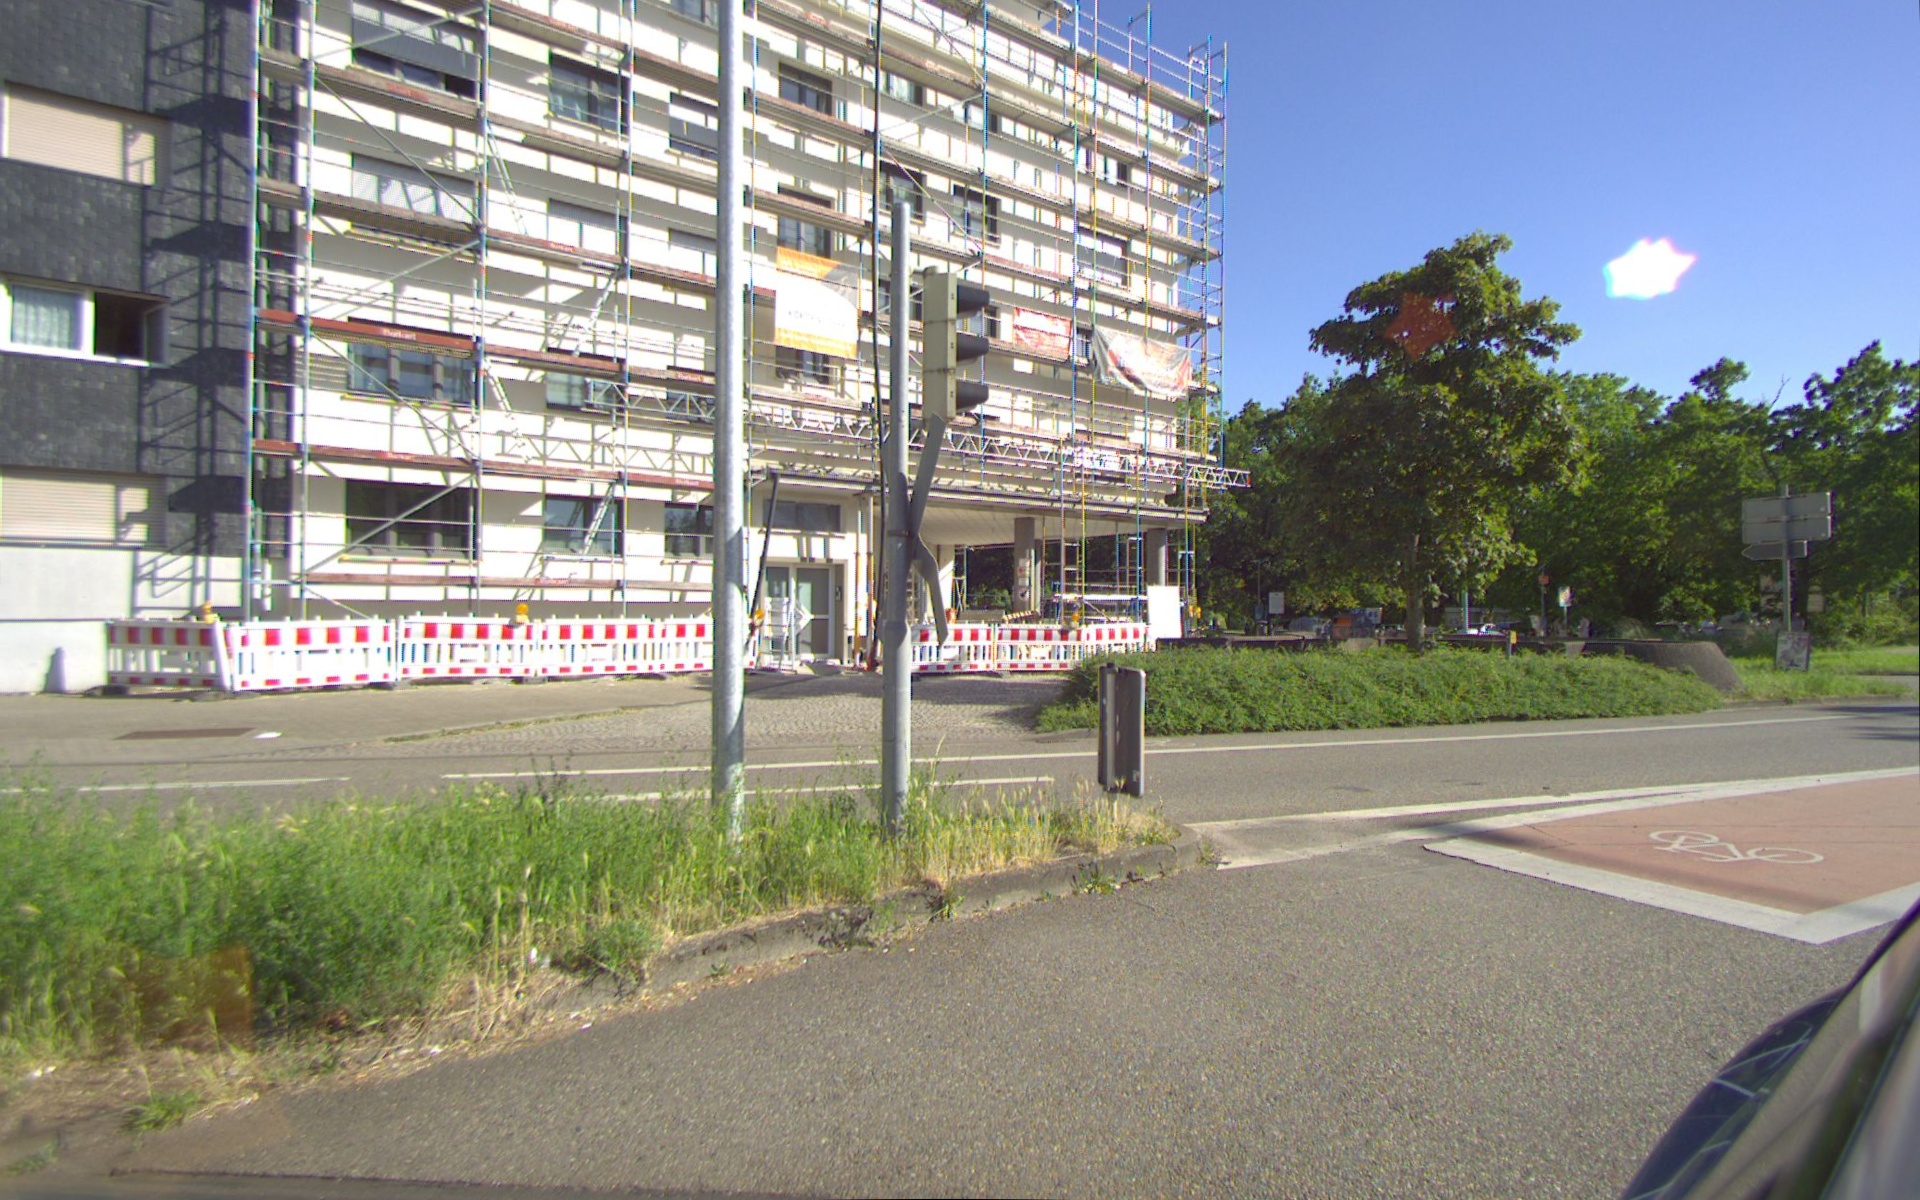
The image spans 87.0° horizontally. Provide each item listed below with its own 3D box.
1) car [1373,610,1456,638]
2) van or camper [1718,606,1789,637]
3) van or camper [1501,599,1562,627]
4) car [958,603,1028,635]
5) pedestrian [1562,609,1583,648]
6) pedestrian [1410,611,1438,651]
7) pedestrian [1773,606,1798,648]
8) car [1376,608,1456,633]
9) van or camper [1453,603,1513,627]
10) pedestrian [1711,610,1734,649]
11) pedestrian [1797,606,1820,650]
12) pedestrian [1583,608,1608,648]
[{"bbox_3d":[23.544,1.205,52.533,1.595,1.331,3.584,-2,1,-39],"label":"car"},{"bbox_3d":[51.667,1.398,65.850,5.230,1.937,2.456,1,-1,-38],"label":"van or camper"},{"bbox_3d":[45.335,1.012,80.240,5.232,2.186,2.455,1,-1,-40],"label":"van or camper"},{"bbox_3d":[2.226,1.241,67.497,4.265,2.100,2.001,0,-1,-31],"label":"car"},{"bbox_3d":[26.172,1.214,43.248,0.557,1.640,0.598,0,-2,-39],"label":"pedestrian"},{"bbox_3d":[17.756,1.181,38.736,0.893,1.516,0.650,1,-1,-42],"label":"pedestrian"},{"bbox_3d":[32.475,1.046,39.797,0.541,1.655,0.624,1,-1,-33],"label":"pedestrian"},{"bbox_3d":[24.912,1.104,55.326,1.595,1.290,3.647,-2,1,-39],"label":"car"},{"bbox_3d":[42.990,1.237,83.178,5.230,1.937,2.456,1,-1,-38],"label":"van or camper"},{"bbox_3d":[30.392,1.169,40.361,0.601,1.538,0.529,1,-1,-31],"label":"pedestrian"},{"bbox_3d":[33.166,1.089,39.560,0.402,1.722,0.604,1,-1,-34],"label":"pedestrian"},{"bbox_3d":[26.730,1.187,42.547,0.557,1.640,0.704,0,-2,-39],"label":"pedestrian"}]
